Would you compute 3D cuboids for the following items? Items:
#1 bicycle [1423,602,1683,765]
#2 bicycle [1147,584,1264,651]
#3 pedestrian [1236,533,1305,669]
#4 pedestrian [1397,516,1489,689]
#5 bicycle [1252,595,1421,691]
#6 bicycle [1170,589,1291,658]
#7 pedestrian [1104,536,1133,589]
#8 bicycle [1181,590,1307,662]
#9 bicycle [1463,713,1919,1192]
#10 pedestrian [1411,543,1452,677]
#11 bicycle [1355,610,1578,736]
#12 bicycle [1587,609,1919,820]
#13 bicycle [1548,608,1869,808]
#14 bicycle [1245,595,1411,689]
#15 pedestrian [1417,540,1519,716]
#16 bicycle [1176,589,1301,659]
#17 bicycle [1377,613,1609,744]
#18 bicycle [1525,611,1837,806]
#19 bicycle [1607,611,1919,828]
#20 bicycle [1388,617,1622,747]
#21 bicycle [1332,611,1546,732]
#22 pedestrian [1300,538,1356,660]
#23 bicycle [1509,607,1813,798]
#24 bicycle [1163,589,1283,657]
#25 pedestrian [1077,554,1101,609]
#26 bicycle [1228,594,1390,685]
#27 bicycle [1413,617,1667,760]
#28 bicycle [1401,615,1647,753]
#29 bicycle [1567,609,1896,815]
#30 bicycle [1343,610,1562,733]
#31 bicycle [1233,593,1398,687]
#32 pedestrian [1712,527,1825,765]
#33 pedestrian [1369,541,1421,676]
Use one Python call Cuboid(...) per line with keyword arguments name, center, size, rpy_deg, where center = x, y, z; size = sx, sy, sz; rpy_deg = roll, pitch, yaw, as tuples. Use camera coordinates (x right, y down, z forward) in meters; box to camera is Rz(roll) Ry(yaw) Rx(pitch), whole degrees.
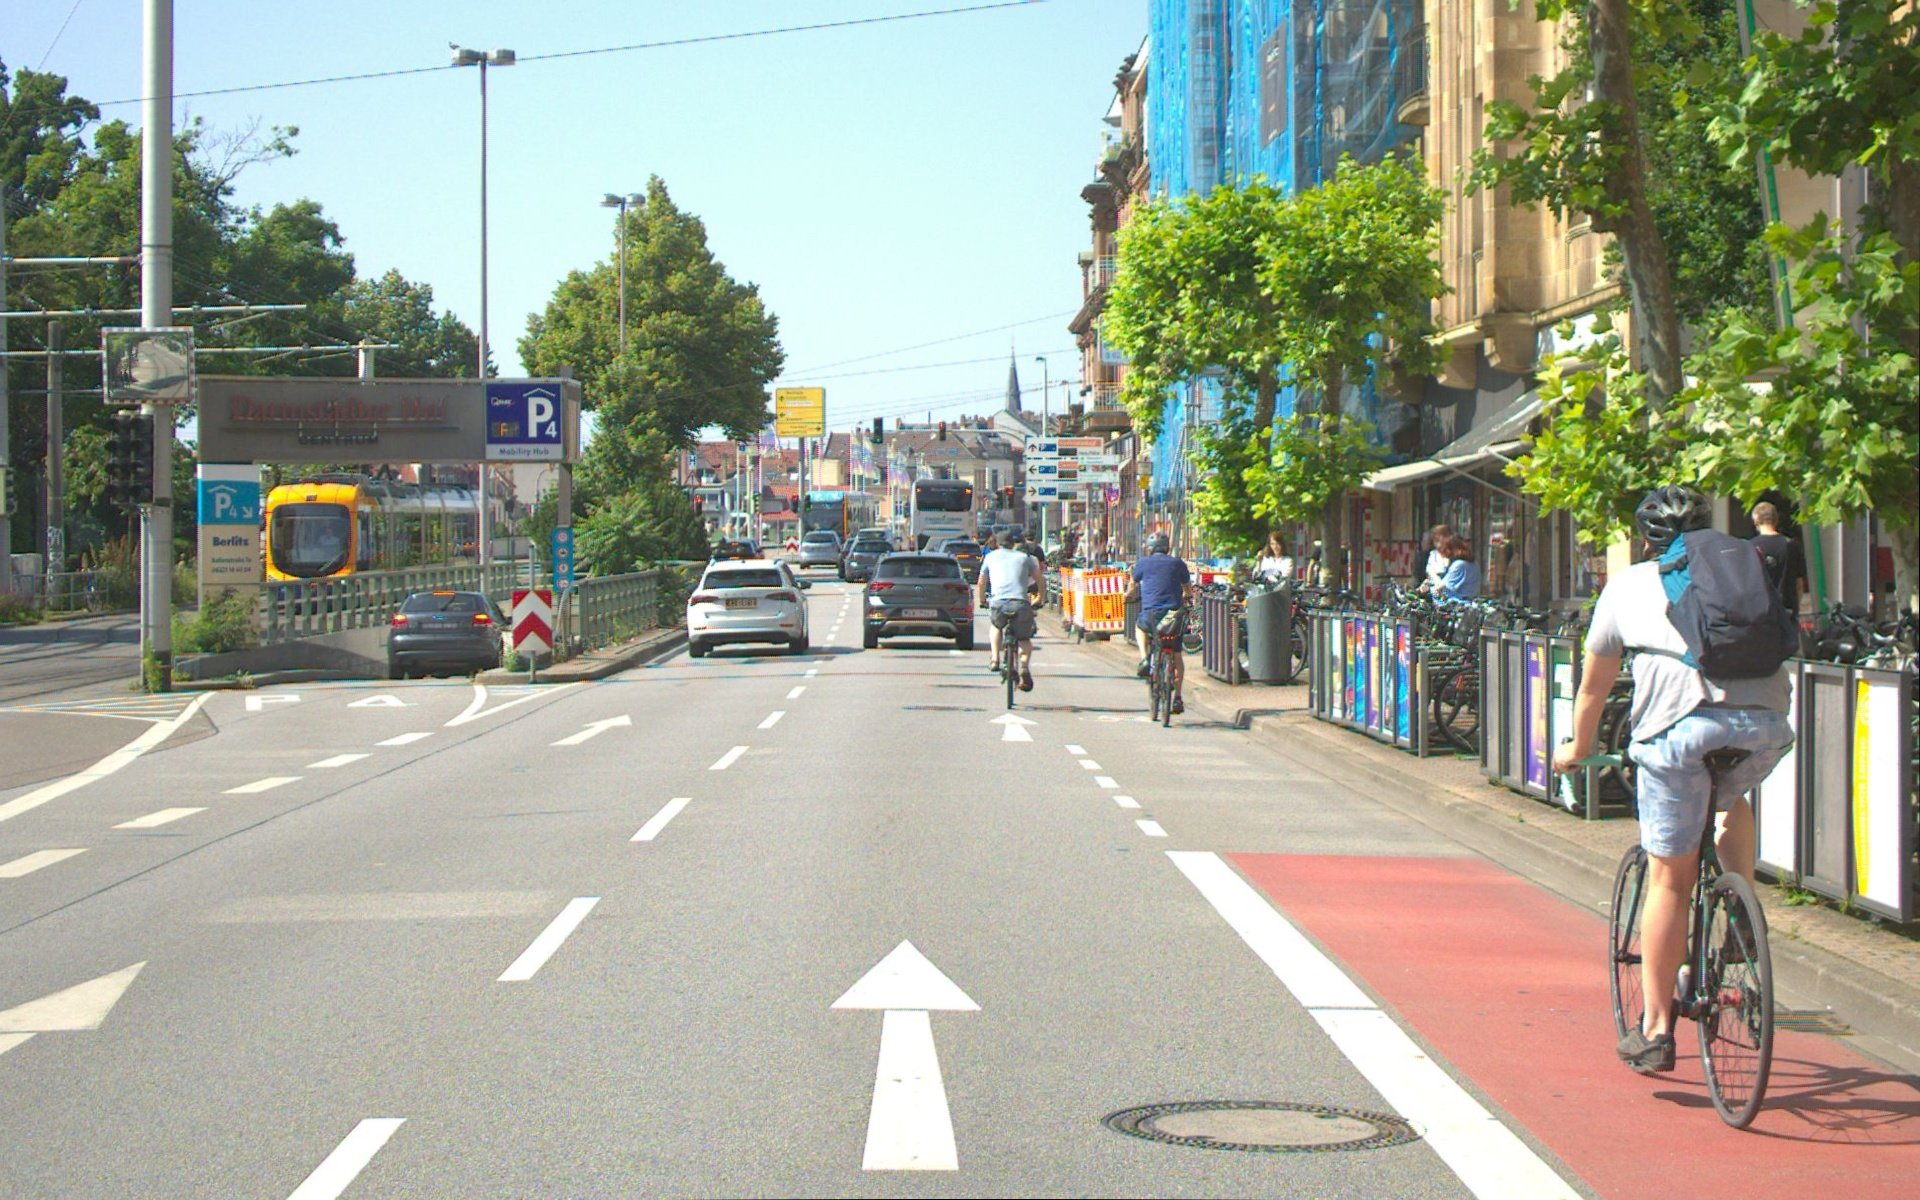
Cuboid(name="bicycle", center=(4.211, 0.590, 24.472), size=(1.752, 1.143, 0.483), rpy_deg=(0, 1, -3))
Cuboid(name="bicycle", center=(3.793, 0.266, 53.241), size=(1.752, 1.014, 0.483), rpy_deg=(0, 1, -3))
Cuboid(name="pedestrian", center=(3.872, 0.013, 42.867), size=(0.656, 1.677, 0.653), rpy_deg=(0, 0, -18))
Cuboid(name="pedestrian", center=(4.631, 0.020, 32.998), size=(0.599, 1.620, 0.644), rpy_deg=(-3, 1, -14))
Cuboid(name="bicycle", center=(4.062, 0.464, 37.126), size=(1.752, 1.014, 0.483), rpy_deg=(0, 1, -3))
Cuboid(name="bicycle", center=(4.032, 0.349, 51.293), size=(1.752, 1.014, 0.483), rpy_deg=(0, 1, -3))
Cuboid(name="pedestrian", center=(5.103, -1.203, 110.586), size=(0.755, 1.650, 0.837), rpy_deg=(-3, 0, -2))
Cuboid(name="bicycle", center=(4.072, 0.376, 49.368), size=(1.752, 1.014, 0.483), rpy_deg=(0, 1, -3))
Cuboid(name="bicycle", center=(2.001, 0.921, 9.701), size=(0.734, 1.089, 2.131), rpy_deg=(2, 1, -2))
Cuboid(name="pedestrian", center=(5.975, 0.125, 43.546), size=(0.381, 1.677, 0.476), rpy_deg=(-1, 0, 22))
Cuboid(name="bicycle", center=(4.168, 0.599, 28.335), size=(1.752, 1.014, 0.483), rpy_deg=(0, 1, -3))
Cuboid(name="bicycle", center=(4.398, 0.627, 19.038), size=(1.752, 1.143, 0.483), rpy_deg=(0, 1, -3))
Cuboid(name="bicycle", center=(4.351, 0.623, 20.035), size=(1.752, 1.143, 0.483), rpy_deg=(0, 1, -3))
Cuboid(name="bicycle", center=(4.029, 0.456, 37.687), size=(1.752, 1.014, 0.483), rpy_deg=(0, 1, -3))
Cuboid(name="pedestrian", center=(4.778, 0.255, 32.344), size=(0.695, 1.620, 0.702), rpy_deg=(-1, 1, -14))
Cuboid(name="bicycle", center=(4.074, 0.354, 50.302), size=(1.752, 1.014, 0.483), rpy_deg=(0, 1, -7))
Cuboid(name="bicycle", center=(4.215, 0.617, 27.249), size=(1.752, 1.014, 0.483), rpy_deg=(0, 1, -3))
Cuboid(name="bicycle", center=(4.305, 0.645, 20.578), size=(1.752, 1.143, 0.483), rpy_deg=(0, 1, -3))
Cuboid(name="bicycle", center=(4.412, 0.635, 18.515), size=(1.752, 1.143, 0.483), rpy_deg=(0, 1, -3))
Cuboid(name="bicycle", center=(4.192, 0.626, 26.485), size=(1.717, 0.981, 0.483), rpy_deg=(0, 1, -3))
Cuboid(name="bicycle", center=(4.099, 0.606, 29.445), size=(1.752, 1.014, 0.483), rpy_deg=(0, 1, -3))
Cuboid(name="pedestrian", center=(5.677, -0.017, 52.984), size=(0.814, 1.842, 0.891), rpy_deg=(-1, 0, 7))
Cuboid(name="bicycle", center=(4.287, 0.623, 21.081), size=(1.752, 1.143, 0.483), rpy_deg=(0, 1, -3))
Cuboid(name="bicycle", center=(3.954, 0.341, 51.825), size=(1.752, 1.014, 0.483), rpy_deg=(0, 1, -3))
Cuboid(name="pedestrian", center=(3.919, -0.563, 104.379), size=(0.654, 1.615, 0.815), rpy_deg=(-1, 2, -2))
Cuboid(name="bicycle", center=(3.946, 0.444, 38.950), size=(1.752, 1.014, 0.557), rpy_deg=(0, 1, -3))
Cuboid(name="bicycle", center=(4.214, 0.638, 25.010), size=(1.752, 1.014, 0.483), rpy_deg=(0, 1, -3))
Cuboid(name="bicycle", center=(4.221, 0.628, 25.789), size=(1.752, 1.014, 0.483), rpy_deg=(0, 1, -3))
Cuboid(name="bicycle", center=(4.373, 0.629, 19.539), size=(1.752, 1.143, 0.483), rpy_deg=(0, 1, -3))
Cuboid(name="bicycle", center=(4.134, 0.599, 28.892), size=(1.752, 1.014, 0.483), rpy_deg=(0, 1, -3))
Cuboid(name="bicycle", center=(3.961, 0.442, 38.309), size=(1.752, 1.014, 0.587), rpy_deg=(-1, 1, -3))
Cuboid(name="pedestrian", center=(6.157, 0.338, 26.217), size=(0.668, 1.775, 0.985), rpy_deg=(-1, 0, 3))
Cuboid(name="pedestrian", center=(5.495, 0.105, 43.430), size=(0.498, 1.677, 0.536), rpy_deg=(-2, 0, 20))
